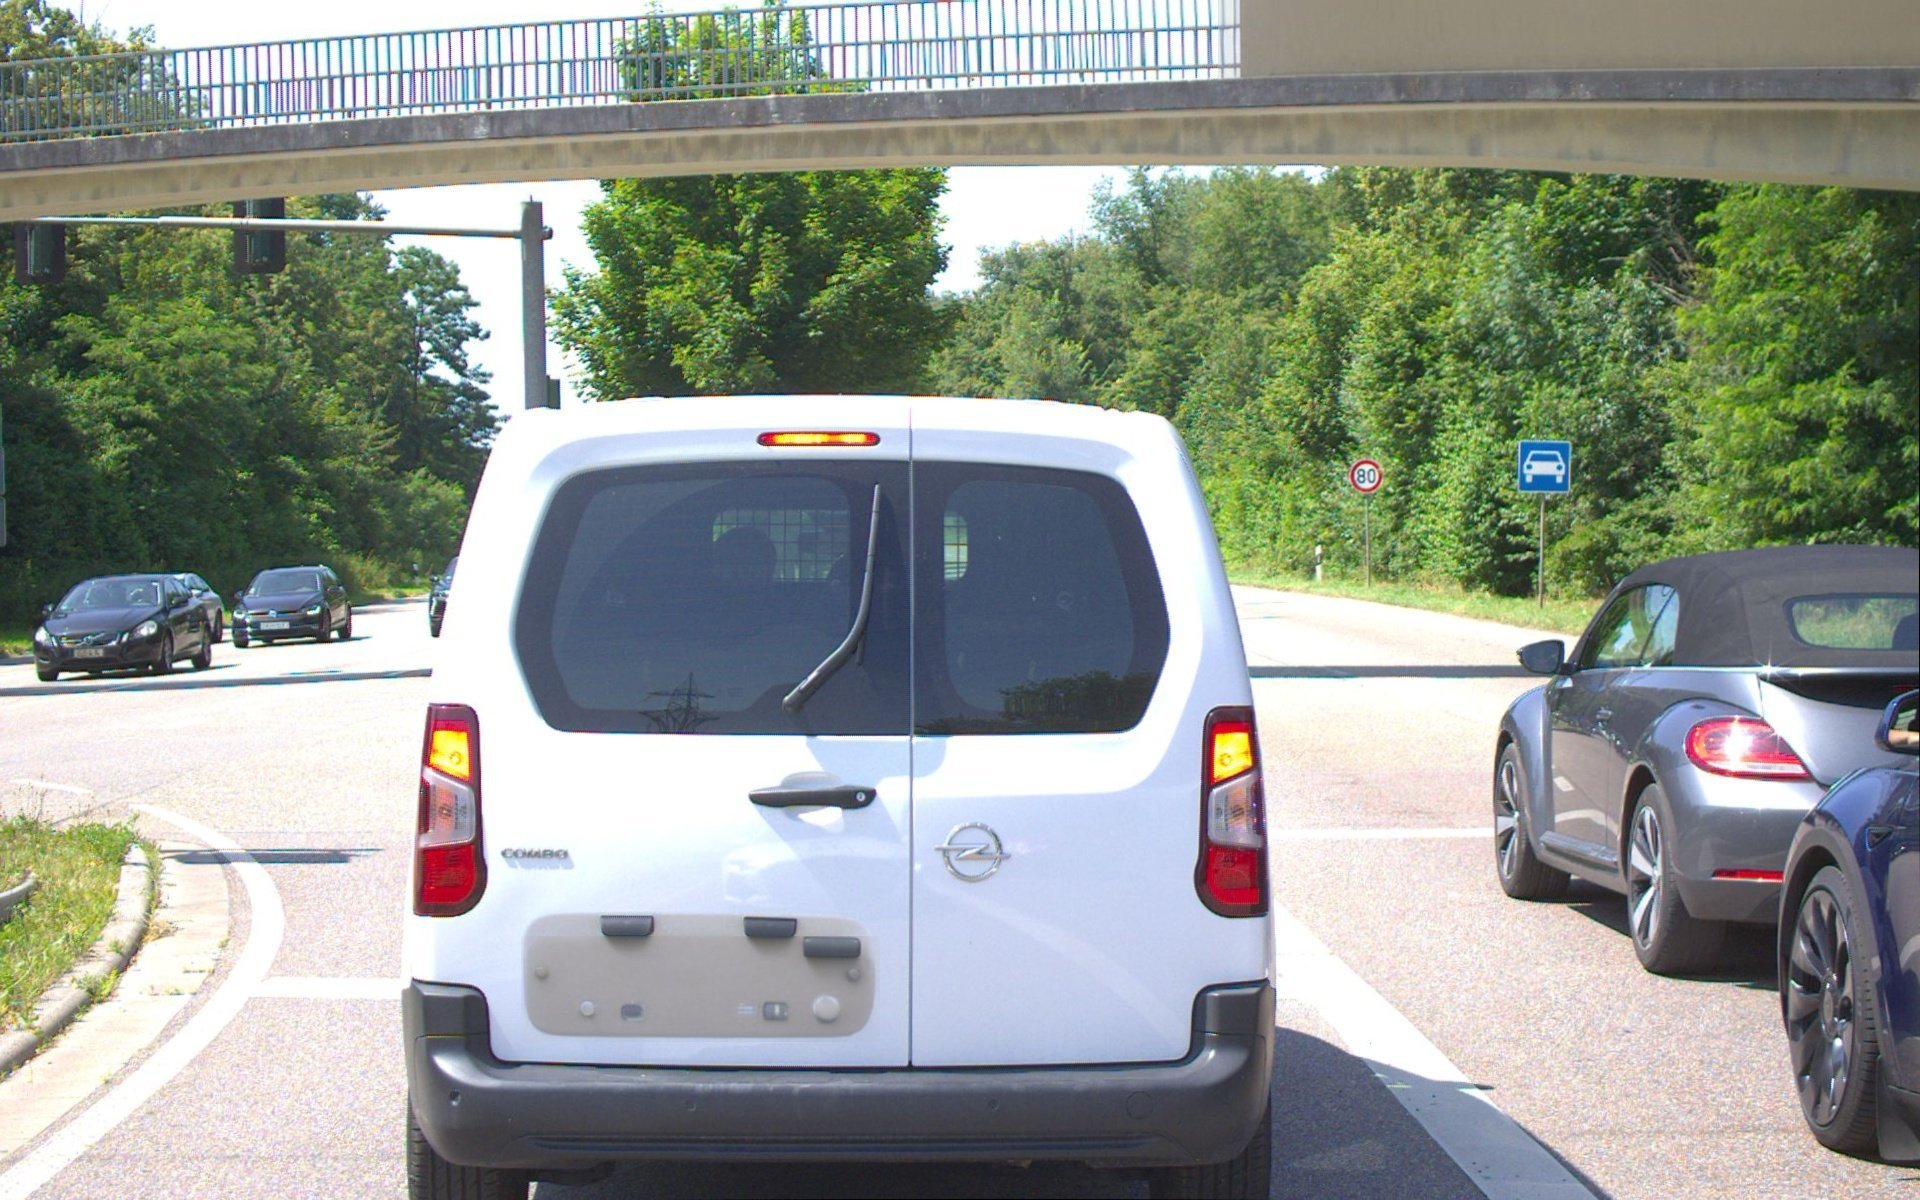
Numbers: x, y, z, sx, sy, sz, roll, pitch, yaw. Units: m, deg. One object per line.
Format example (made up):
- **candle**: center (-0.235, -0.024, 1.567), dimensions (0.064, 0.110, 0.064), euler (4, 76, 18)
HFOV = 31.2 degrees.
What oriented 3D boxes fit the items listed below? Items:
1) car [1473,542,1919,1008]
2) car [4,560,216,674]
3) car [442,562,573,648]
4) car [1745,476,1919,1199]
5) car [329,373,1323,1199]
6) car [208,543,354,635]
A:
- **car**: center (3.216, 0.533, 12.989), dimensions (1.900, 1.472, 3.939), euler (1, 1, -1)
- **car**: center (-12.051, 0.208, 48.989), dimensions (2.008, 1.455, 4.055), euler (-2, 1, -1)
- **car**: center (-8.650, 0.078, 66.026), dimensions (1.993, 1.518, 4.028), euler (2, 1, -1)
- **car**: center (3.052, 0.573, 6.785), dimensions (1.900, 1.639, 4.520), euler (1, 1, -1)
- **car**: center (-0.305, 0.435, 8.447), dimensions (1.849, 1.819, 3.982), euler (1, 2, -2)
- **car**: center (-12.940, -0.238, 65.715), dimensions (1.993, 1.659, 4.000), euler (-1, 1, -1)
